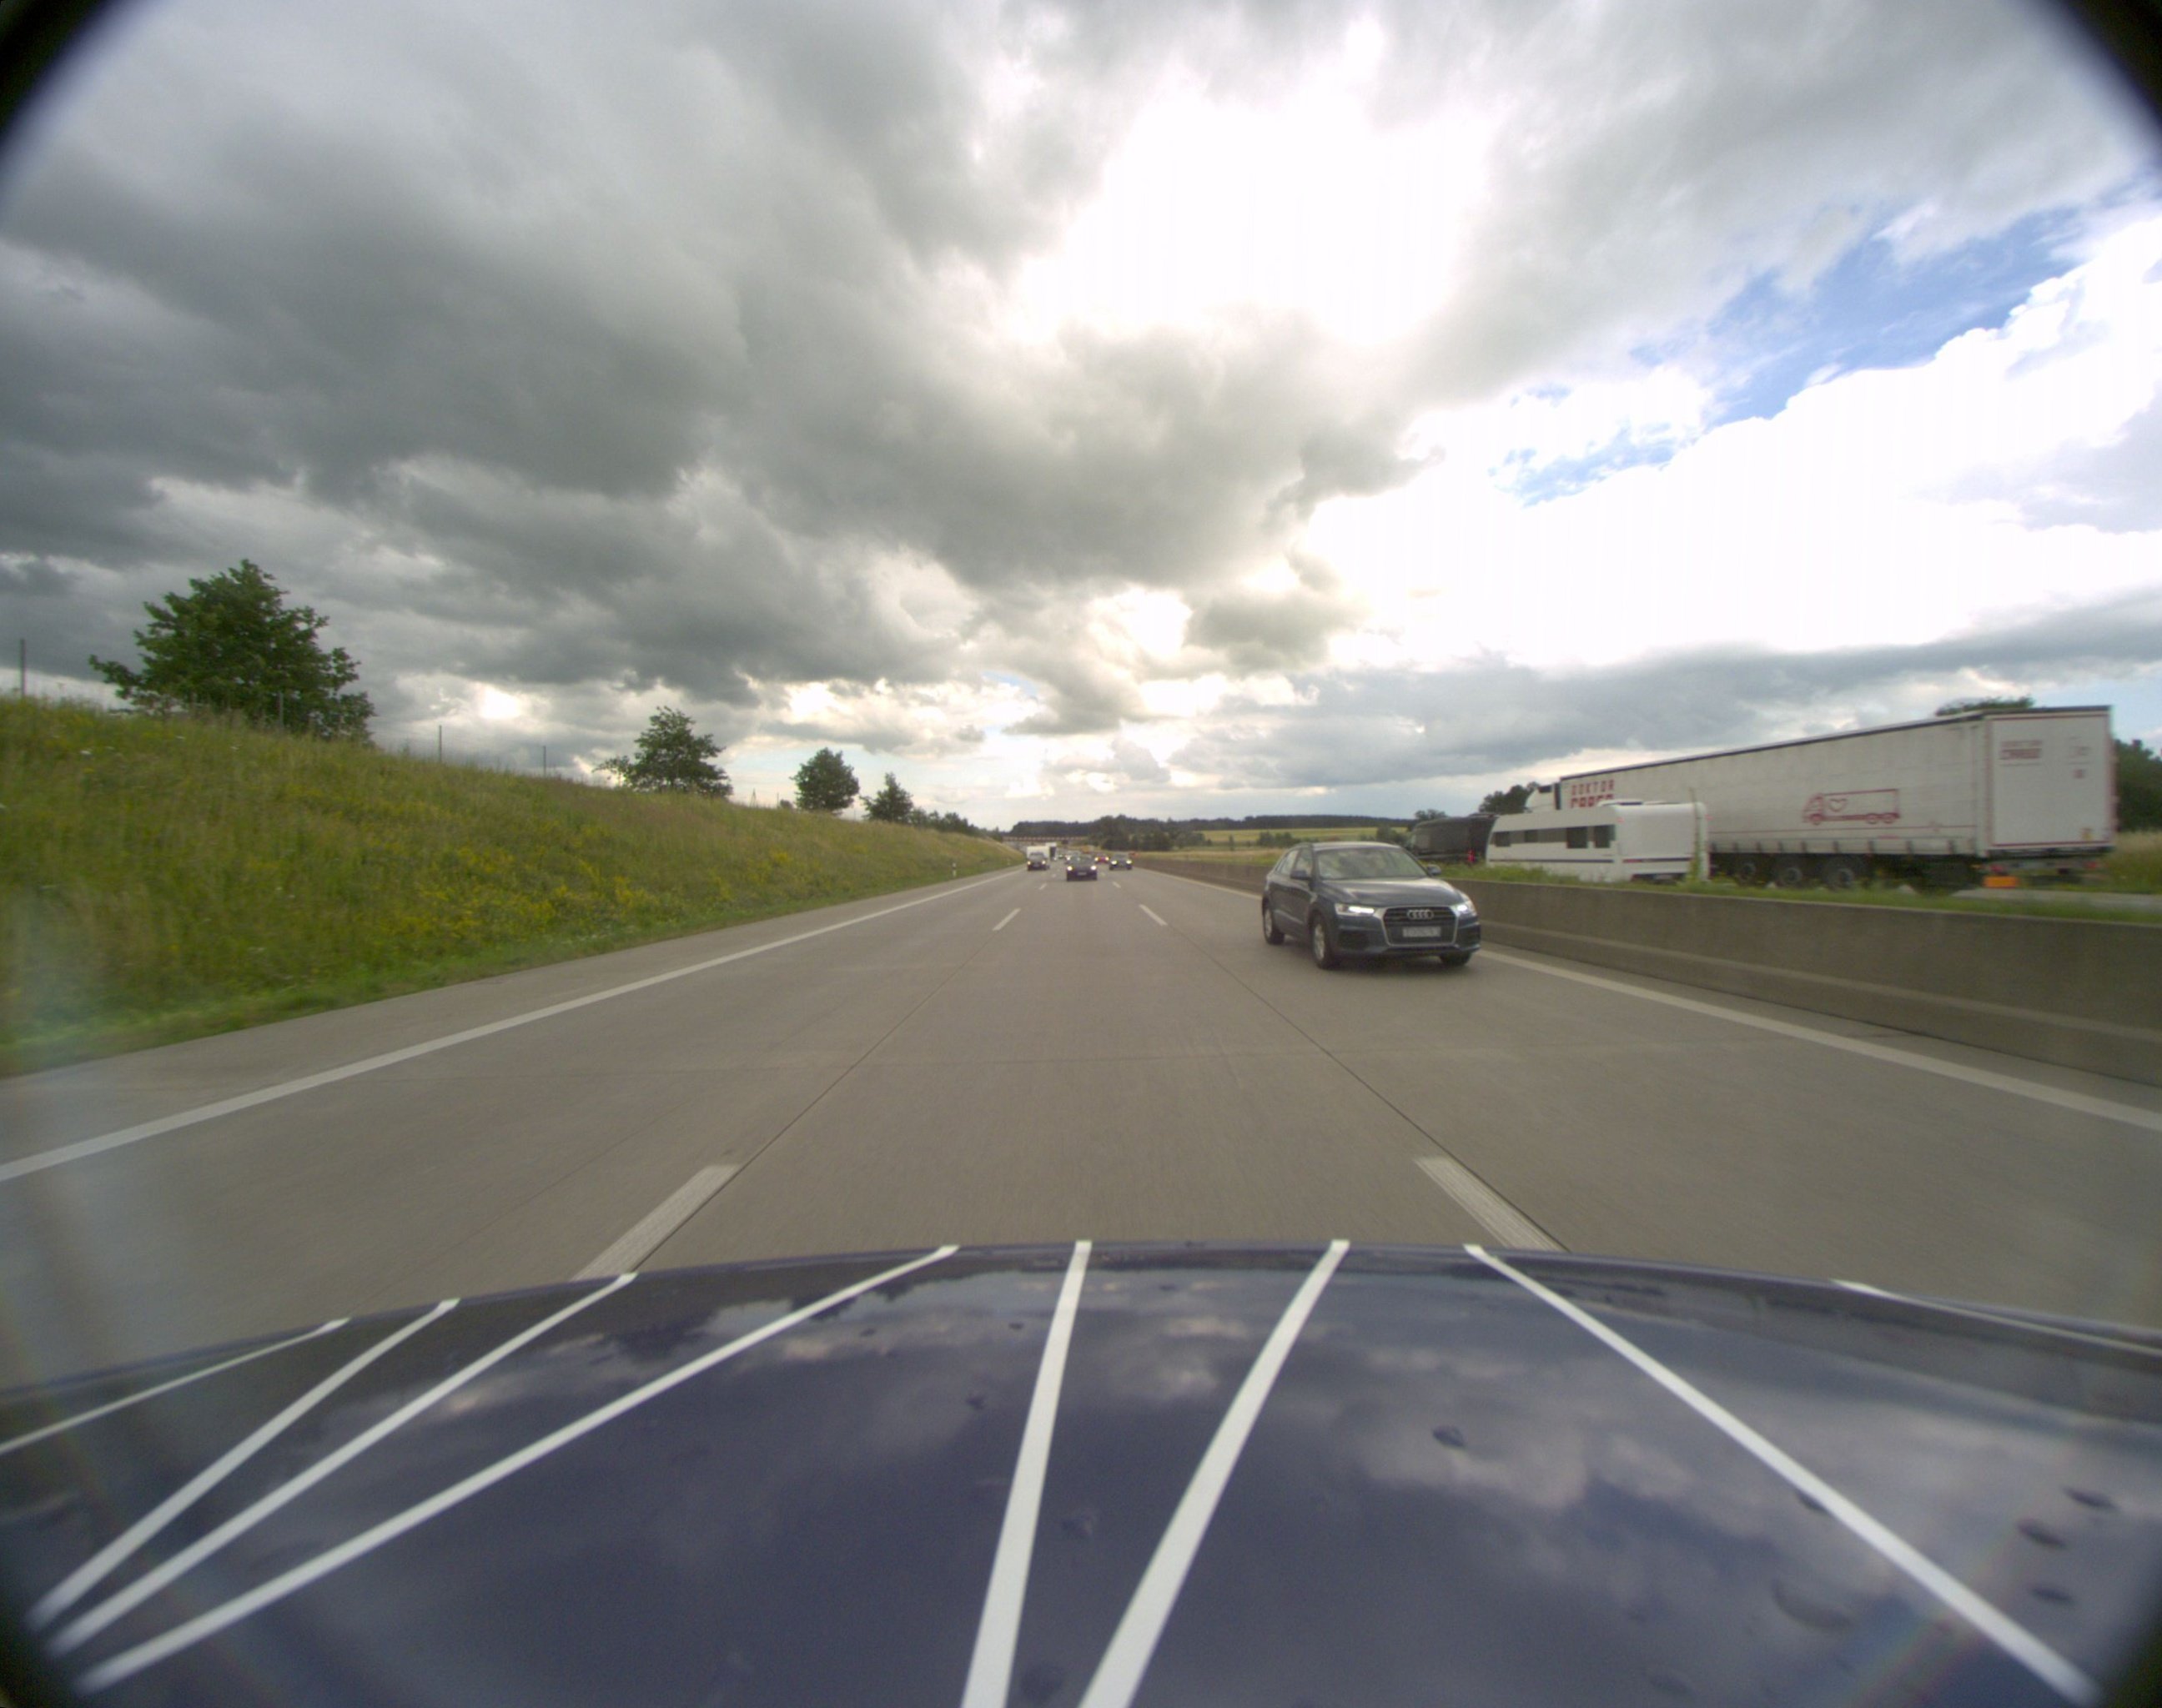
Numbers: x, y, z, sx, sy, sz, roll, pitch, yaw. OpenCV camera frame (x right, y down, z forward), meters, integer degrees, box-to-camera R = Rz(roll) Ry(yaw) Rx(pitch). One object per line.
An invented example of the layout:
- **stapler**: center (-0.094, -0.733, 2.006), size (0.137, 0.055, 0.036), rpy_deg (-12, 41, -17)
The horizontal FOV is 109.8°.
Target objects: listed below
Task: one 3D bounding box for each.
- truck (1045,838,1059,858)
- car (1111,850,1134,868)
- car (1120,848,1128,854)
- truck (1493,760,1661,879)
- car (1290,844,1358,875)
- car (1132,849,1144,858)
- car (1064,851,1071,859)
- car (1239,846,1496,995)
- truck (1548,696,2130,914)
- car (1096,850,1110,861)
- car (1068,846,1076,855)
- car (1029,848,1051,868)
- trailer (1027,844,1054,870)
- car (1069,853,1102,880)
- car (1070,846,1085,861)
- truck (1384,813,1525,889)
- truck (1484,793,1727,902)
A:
- **truck**: center (-6.339, -1.344, 168.322), size (2.855, 4.176, 10.707), rpy_deg (-2, 0, -2)
- **car**: center (3.573, 0.439, 66.112), size (1.939, 1.464, 4.000), rpy_deg (-1, 0, 2)
- **car**: center (12.089, -0.786, 213.473), size (1.999, 1.674, 4.062), rpy_deg (-1, 0, -1)
- **truck**: center (19.770, -1.310, 30.793), size (2.848, 4.231, 6.090), rpy_deg (-2, 1, 1)
- **car**: center (12.245, 0.252, 38.535), size (1.999, 1.473, 4.211), rpy_deg (-2, 0, -1)
- **car**: center (11.041, -0.112, 147.315), size (1.998, 1.630, 4.397), rpy_deg (-1, 0, 0)
- **car**: center (-3.625, 0.186, 205.457), size (1.999, 2.002, 3.998), rpy_deg (-2, 1, -1)
- **car**: center (3.703, 0.712, 10.975), size (1.797, 1.587, 5.156), rpy_deg (-2, 1, 1)
- **truck**: center (19.588, -1.123, 22.426), size (2.848, 4.231, 14.564), rpy_deg (-2, 1, 1)
- **car**: center (3.038, 0.153, 102.756), size (1.821, 1.364, 3.783), rpy_deg (-3, 1, 2)
- **car**: center (-2.054, -0.764, 176.026), size (1.810, 2.002, 3.841), rpy_deg (-3, 1, -1)
- **car**: center (-3.966, 0.399, 74.439), size (1.944, 1.799, 5.030), rpy_deg (-2, 1, -2)
- **trailer**: center (-4.238, 0.281, 80.312), size (2.615, 2.520, 6.719), rpy_deg (-2, 1, -2)
- **car**: center (0.209, 0.673, 43.778), size (1.691, 1.405, 3.999), rpy_deg (-2, 1, -2)
- **car**: center (-0.499, -0.094, 110.773), size (1.999, 2.002, 3.998), rpy_deg (-2, 0, -3)
- **truck**: center (15.186, -0.139, 31.555), size (2.257, 2.709, 7.125), rpy_deg (-2, 0, 0)
- **truck**: center (15.386, -0.191, 23.087), size (2.622, 2.709, 6.919), rpy_deg (-2, 1, 1)
